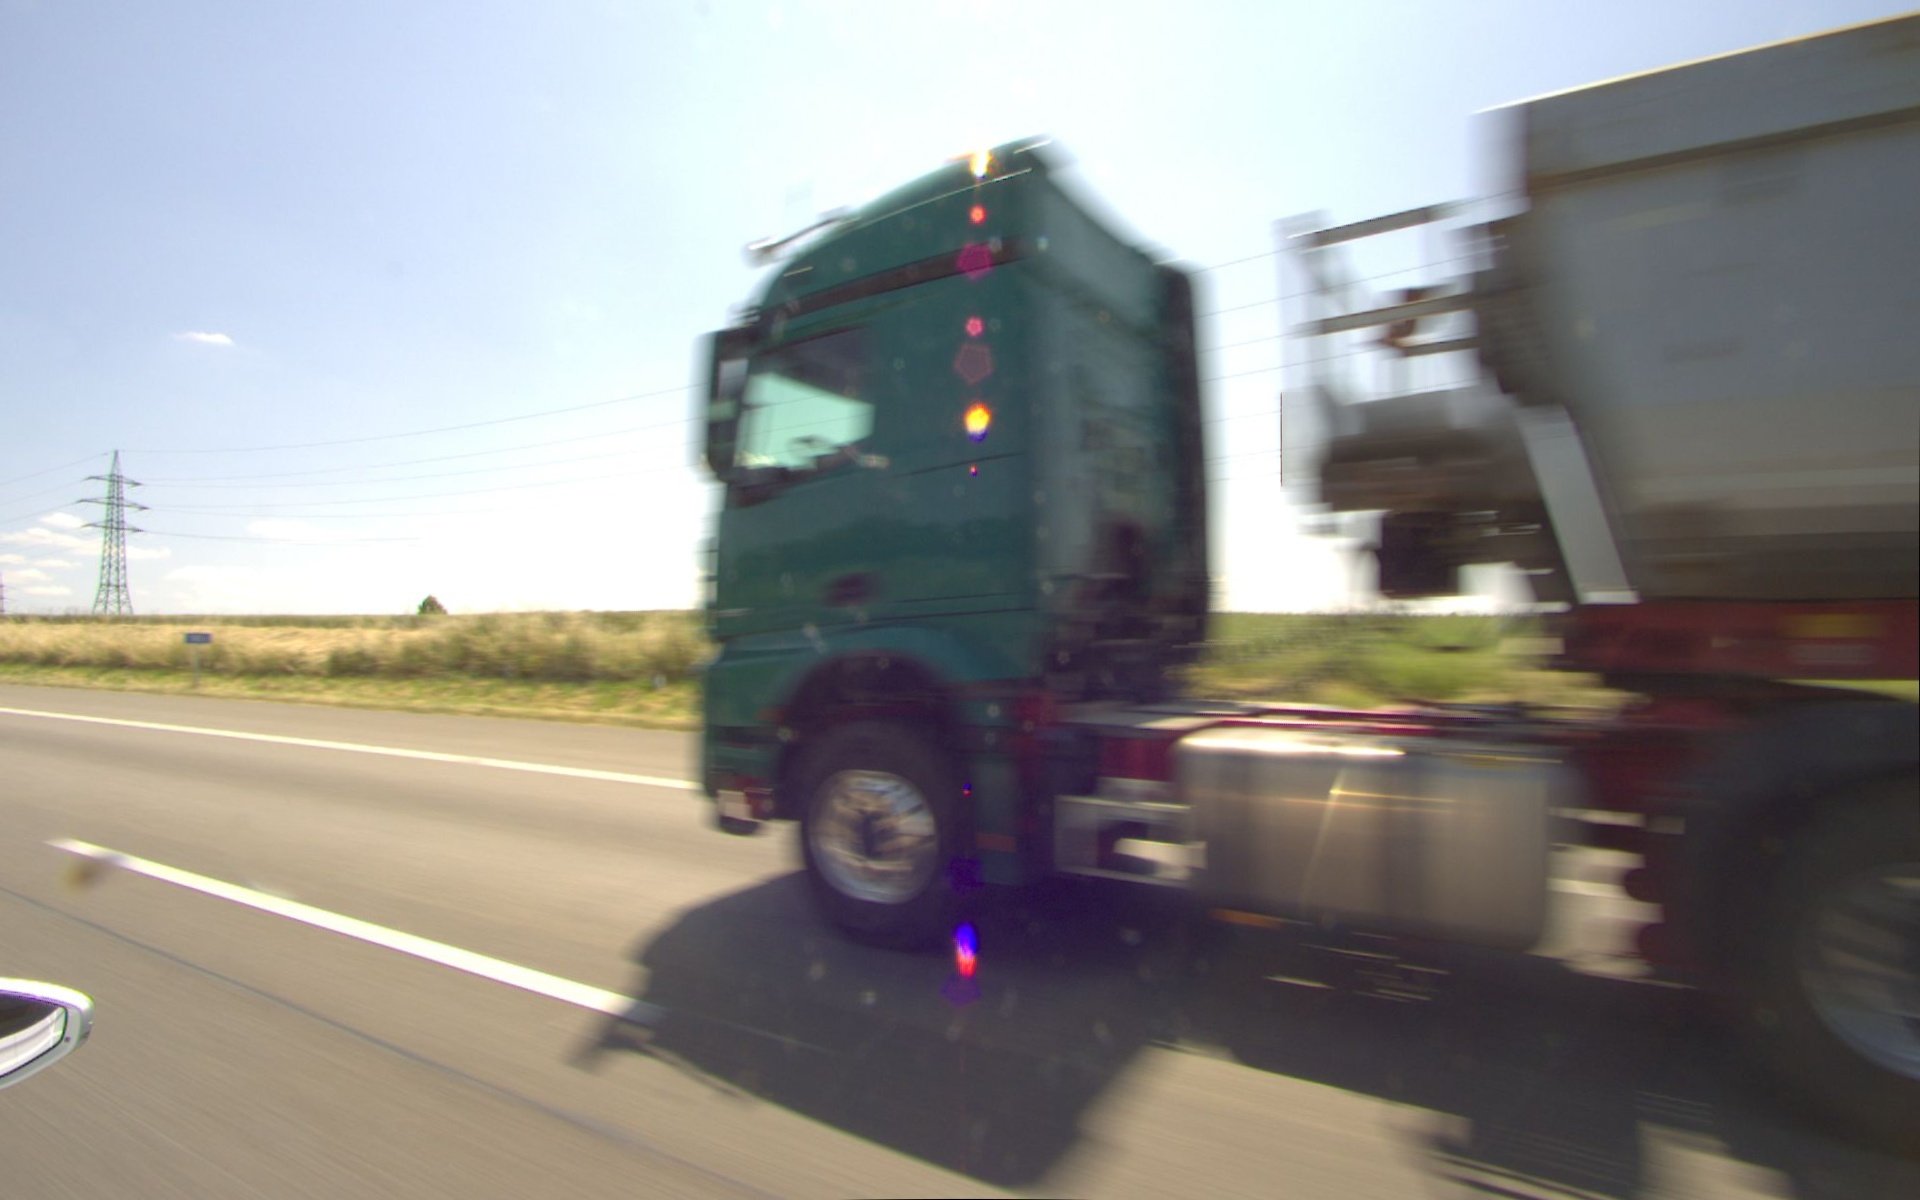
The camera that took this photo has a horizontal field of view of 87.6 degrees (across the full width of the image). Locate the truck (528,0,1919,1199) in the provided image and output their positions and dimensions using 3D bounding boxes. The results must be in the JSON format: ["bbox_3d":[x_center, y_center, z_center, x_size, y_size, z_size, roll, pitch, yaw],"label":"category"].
[{"bbox_3d":[3.628,-0.279,3.569,12.579,3.772,2.860,-1,-1,32],"label":"truck"}]
